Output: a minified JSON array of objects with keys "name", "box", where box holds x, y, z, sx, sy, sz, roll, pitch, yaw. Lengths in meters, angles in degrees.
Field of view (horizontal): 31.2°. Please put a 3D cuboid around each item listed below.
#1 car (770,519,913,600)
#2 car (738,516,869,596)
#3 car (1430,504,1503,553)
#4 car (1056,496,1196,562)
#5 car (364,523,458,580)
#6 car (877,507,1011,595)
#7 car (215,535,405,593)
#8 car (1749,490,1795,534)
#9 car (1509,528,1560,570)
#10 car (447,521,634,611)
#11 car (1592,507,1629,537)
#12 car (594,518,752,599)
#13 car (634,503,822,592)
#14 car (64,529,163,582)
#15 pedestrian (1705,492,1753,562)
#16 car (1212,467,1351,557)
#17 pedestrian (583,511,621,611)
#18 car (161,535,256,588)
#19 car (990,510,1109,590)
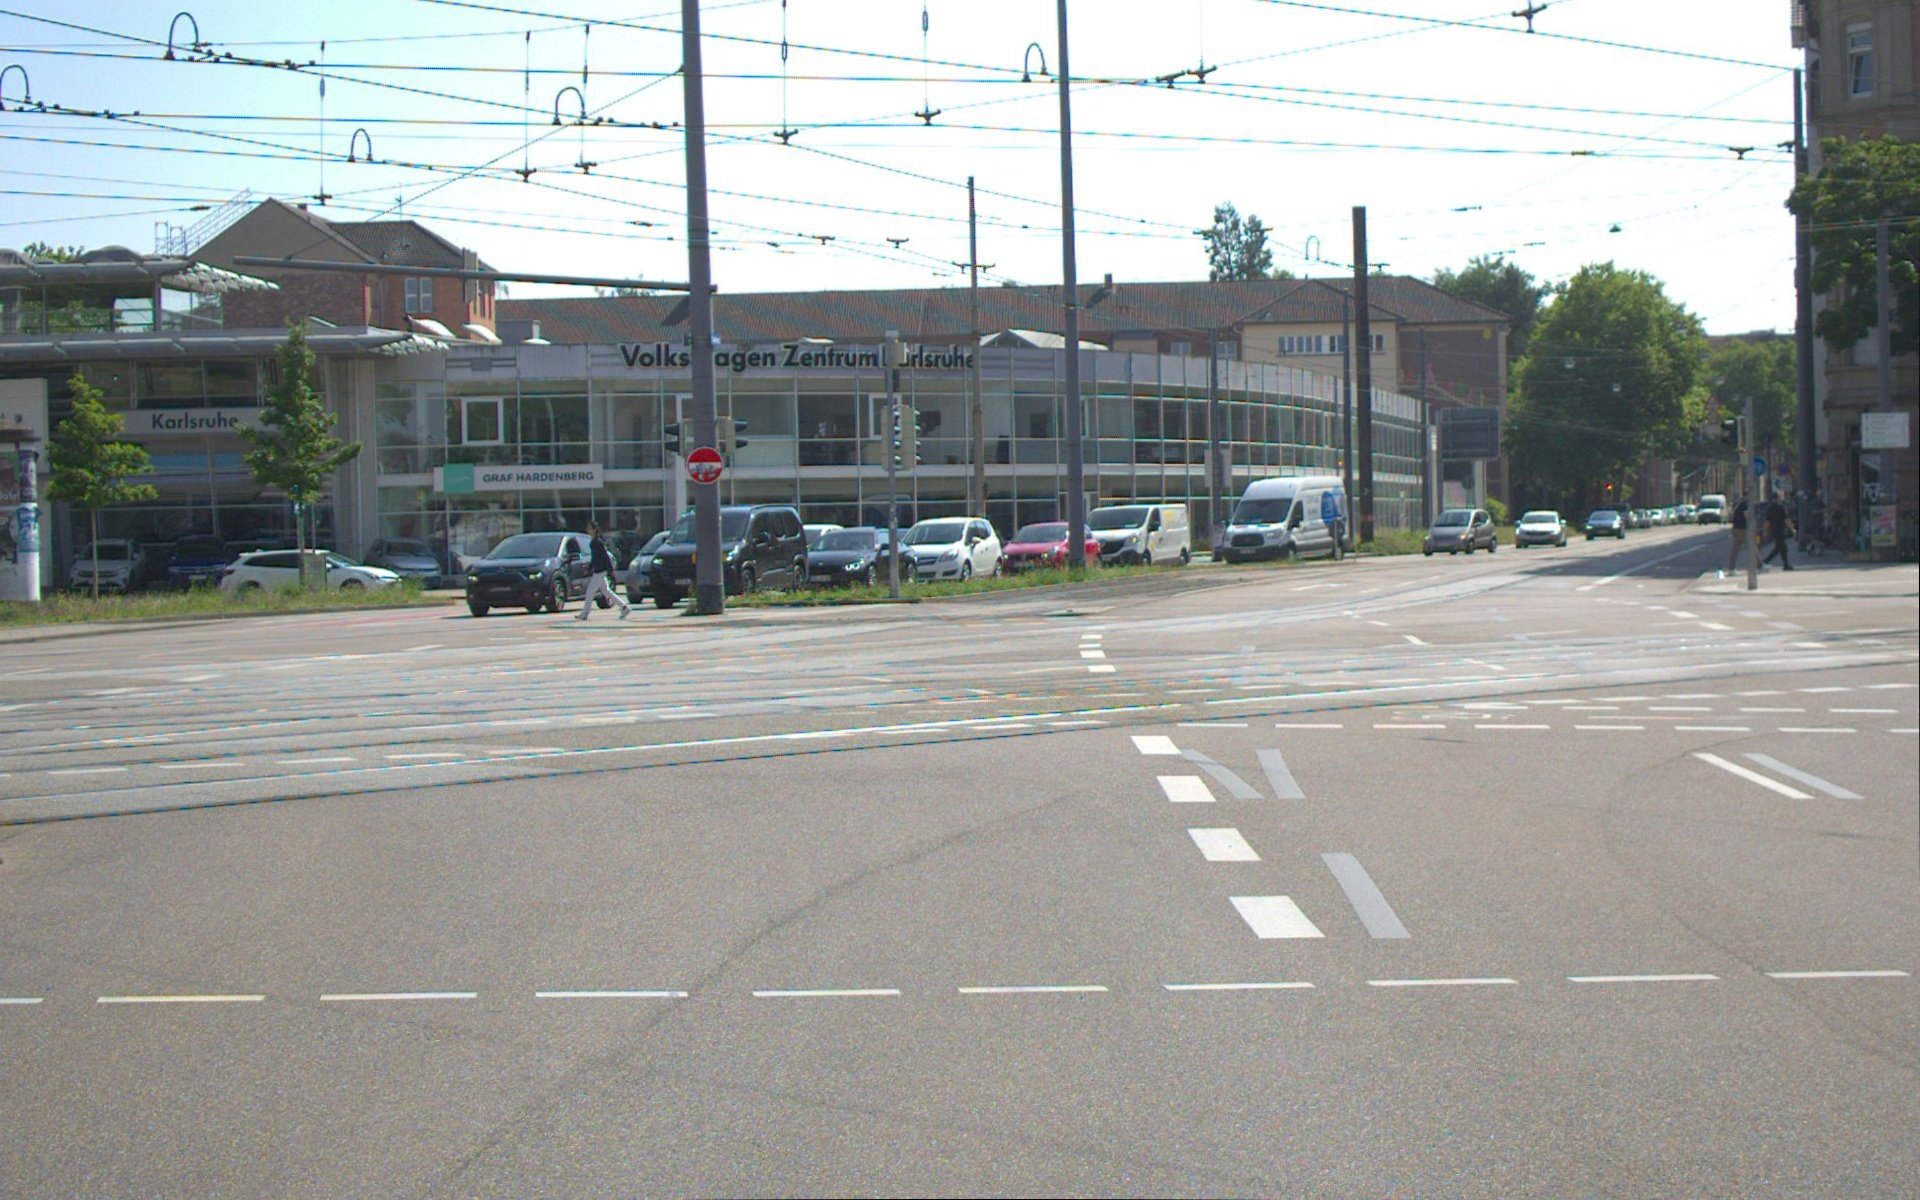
[{"name":"car","box":[-2.399,-0.825,70.772,1.895,1.582,3.997,-1,0,14]},{"name":"car","box":[-3.524,-0.988,78.129,1.653,1.733,4.197,-1,0,17]},{"name":"car","box":[17.867,-2.518,121.128,1.386,1.651,3.754,1,1,27]},{"name":"car","box":[4.518,-1.935,92.719,2.188,1.675,5.024,-1,1,22]},{"name":"car","box":[-16.258,-1.433,101.687,1.819,1.612,4.001,1,1,-23]},{"name":"car","box":[-0.327,-1.092,78.448,1.896,1.910,4.197,-1,0,17]},{"name":"car","box":[-16.727,-0.927,88.510,4.586,1.431,1.444,1,0,10]},{"name":"car","box":[39.133,-4.243,165.617,2.110,2.007,3.998,-1,1,14]},{"name":"car","box":[22.978,-2.057,137.364,1.385,1.619,3.336,-1,1,20]},{"name":"car","box":[-7.768,-0.622,63.999,1.893,1.582,4.207,-1,0,17]},{"name":"car","box":[32.662,-3.918,172.597,1.385,1.409,3.010,1,1,19]},{"name":"car","box":[-5.871,-0.833,70.808,1.896,1.582,3.997,-1,0,17]},{"name":"car","box":[-4.304,-1.006,64.605,1.962,1.582,4.713,-1,1,17]},{"name":"car","box":[-24.704,-1.310,100.405,1.993,1.481,4.001,-1,1,-2]},{"name":"pedestrian","box":[15.860,-1.506,70.935,0.612,1.428,0.712,0,0,-38]},{"name":"car","box":[9.665,-2.603,102.856,2.211,2.566,5.867,1,1,26]},{"name":"pedestrian","box":[-5.816,-0.633,55.860,0.453,1.599,0.400,1,0,-36]},{"name":"car","box":[-21.922,-1.120,100.378,1.993,1.481,4.000,1,1,-2]},{"name":"car","box":[2.245,-1.219,85.345,1.896,1.910,4.197,-1,0,17]}]
